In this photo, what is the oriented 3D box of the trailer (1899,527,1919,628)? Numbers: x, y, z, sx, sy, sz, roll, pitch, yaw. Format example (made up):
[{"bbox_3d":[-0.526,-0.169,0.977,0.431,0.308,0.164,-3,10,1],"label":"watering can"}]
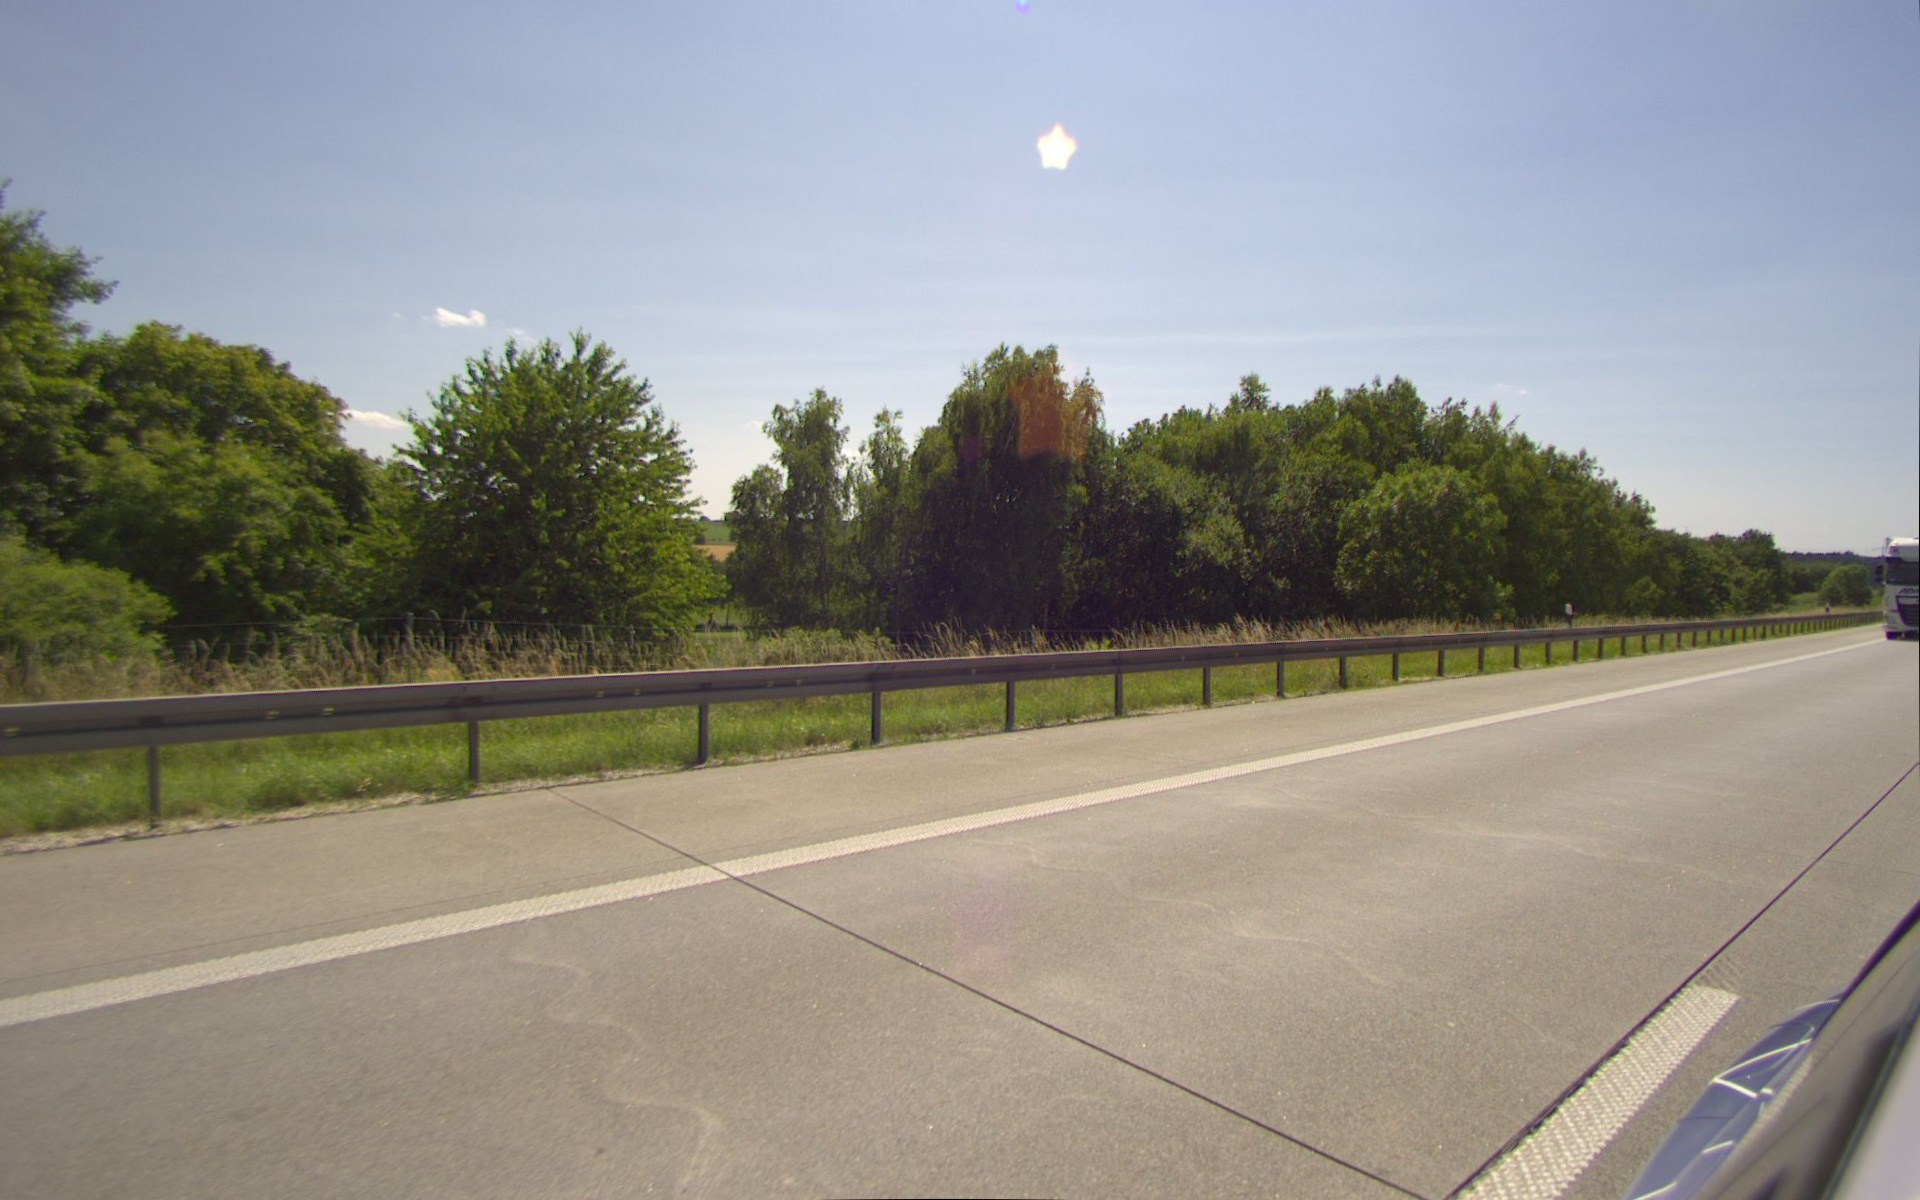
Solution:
[{"bbox_3d":[43.746,-0.914,44.558,12.502,4.093,2.855,0,1,-44],"label":"trailer"}]

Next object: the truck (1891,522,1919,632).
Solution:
[{"bbox_3d":[38.525,-0.864,39.511,5.701,4.139,2.815,0,1,-43],"label":"truck"}]
